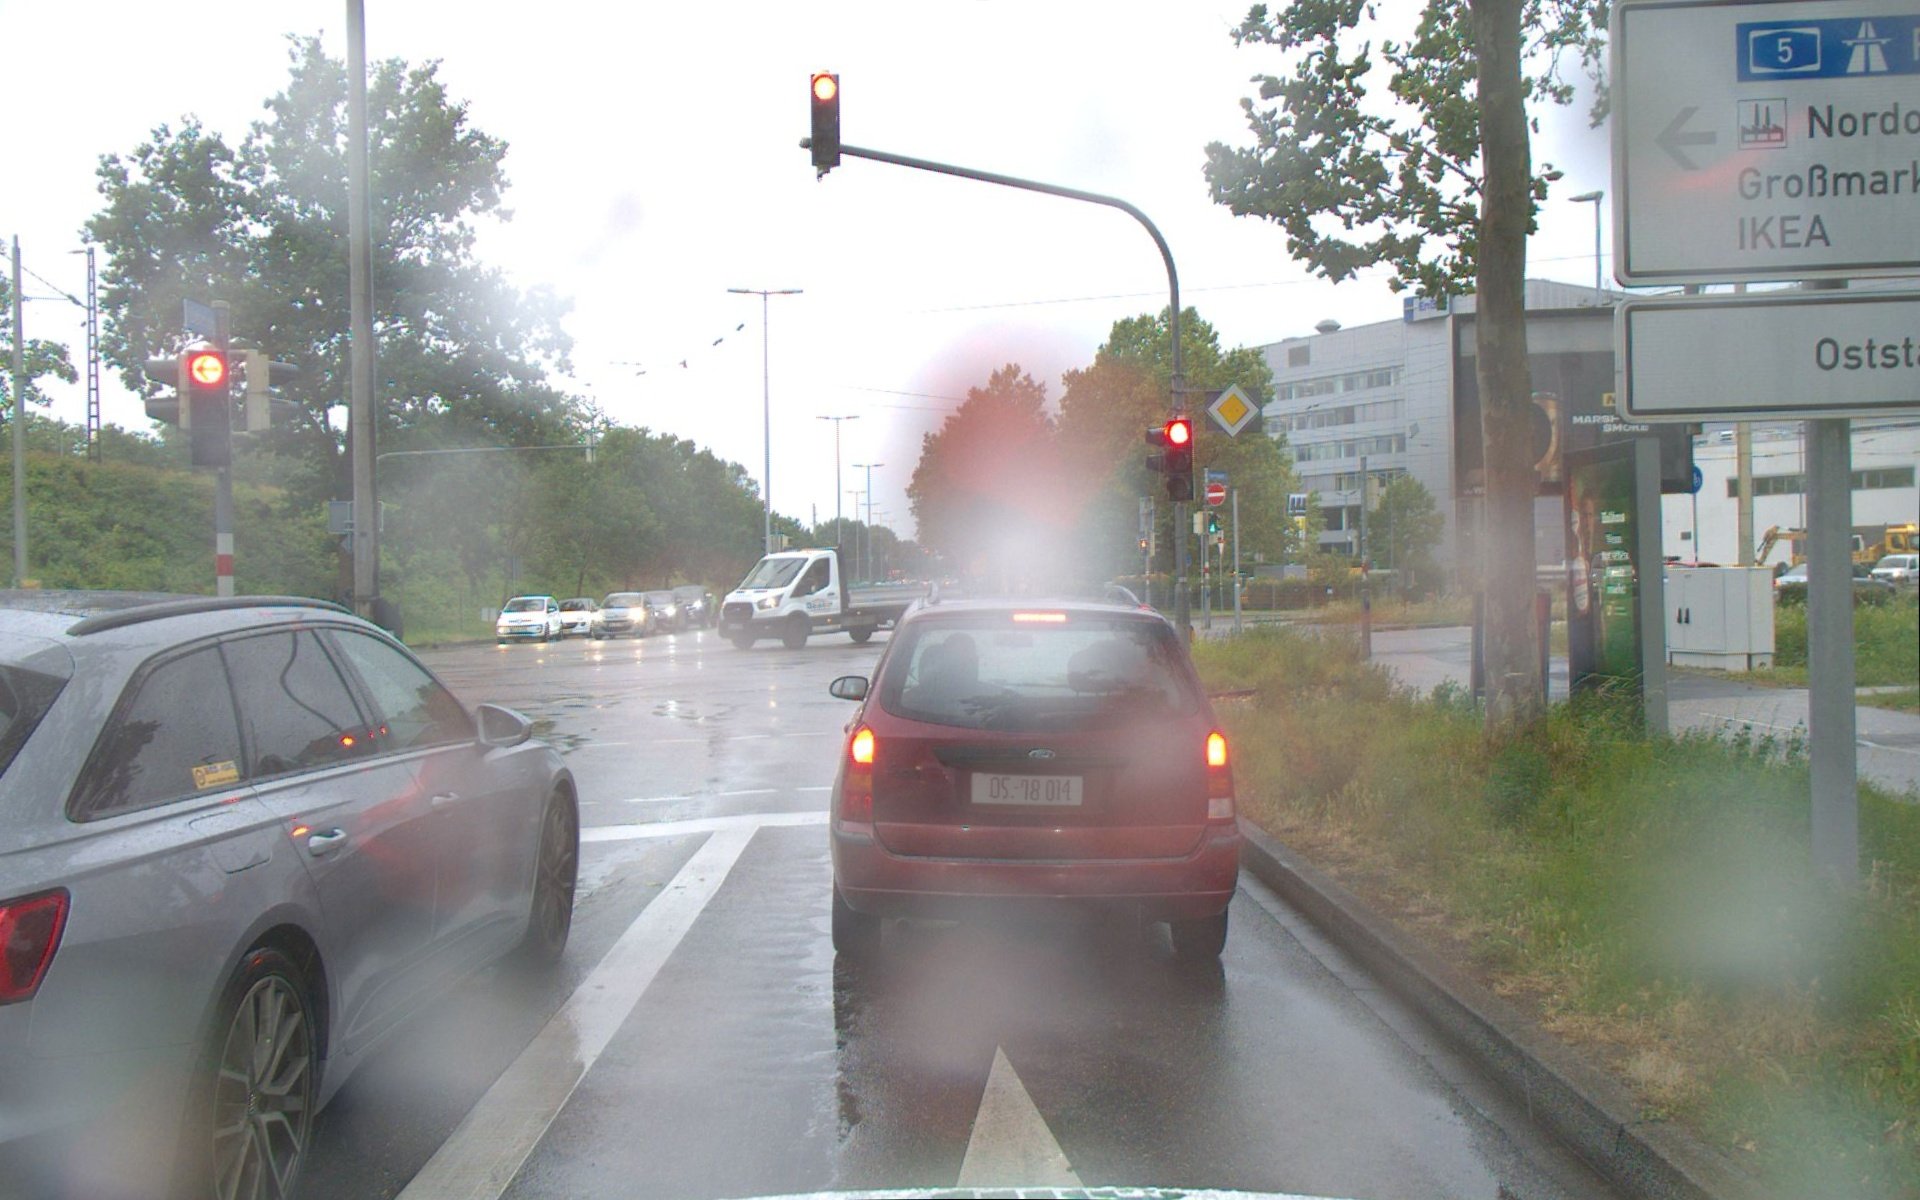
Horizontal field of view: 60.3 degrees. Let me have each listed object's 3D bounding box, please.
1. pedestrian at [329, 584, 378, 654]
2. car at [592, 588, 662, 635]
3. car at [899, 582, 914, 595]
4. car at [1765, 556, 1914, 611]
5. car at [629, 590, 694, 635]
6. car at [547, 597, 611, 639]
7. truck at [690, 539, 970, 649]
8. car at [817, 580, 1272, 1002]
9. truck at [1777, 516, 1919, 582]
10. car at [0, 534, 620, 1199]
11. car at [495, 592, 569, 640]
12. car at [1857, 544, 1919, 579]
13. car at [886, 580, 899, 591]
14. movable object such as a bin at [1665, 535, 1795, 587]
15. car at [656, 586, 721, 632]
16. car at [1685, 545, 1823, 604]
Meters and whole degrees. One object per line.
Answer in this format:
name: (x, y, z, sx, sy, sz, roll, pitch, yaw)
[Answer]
pedestrian: (-16.655, 0.504, 45.429, 1.083, 1.879, 1.127, -1, 0, -13)
car: (-11.232, 0.366, 55.968, 1.605, 1.499, 3.964, -2, 1, -1)
car: (-6.520, -1.378, 202.106, 1.663, 1.554, 3.846, -1, 0, 1)
car: (25.726, -0.480, 48.338, 4.774, 1.517, 1.904, -1, 0, -35)
car: (-11.371, 0.460, 63.247, 1.727, 1.614, 4.811, -2, 0, -2)
car: (-14.068, 0.631, 61.206, 1.558, 1.428, 3.822, -2, 1, -2)
truck: (-2.962, -0.180, 39.435, 2.439, 2.406, 6.824, -1, 0, 43)
car: (0.252, 0.670, 7.790, 1.609, 1.490, 3.731, 1, 0, -2)
truck: (52.800, -2.940, 97.353, 3.292, 3.568, 7.789, -2, 0, -36)
car: (-2.303, 0.665, 4.841, 1.733, 1.601, 4.819, 1, 0, -2)
car: (-14.167, 0.490, 54.878, 1.605, 1.478, 3.785, -2, 1, -3)
car: (49.081, -1.994, 86.920, 4.194, 1.756, 1.720, 0, 0, -35)
car: (-9.992, -2.185, 244.663, 1.663, 1.554, 3.846, -1, 0, 1)
movable object such as a bin: (48.347, -2.414, 103.965, 3.292, 3.048, 6.634, -2, 0, -36)
car: (-11.626, 0.343, 71.210, 2.024, 1.851, 5.539, -2, 1, -2)
car: (21.335, -0.669, 44.392, 3.769, 1.517, 1.659, 0, 0, -33)
